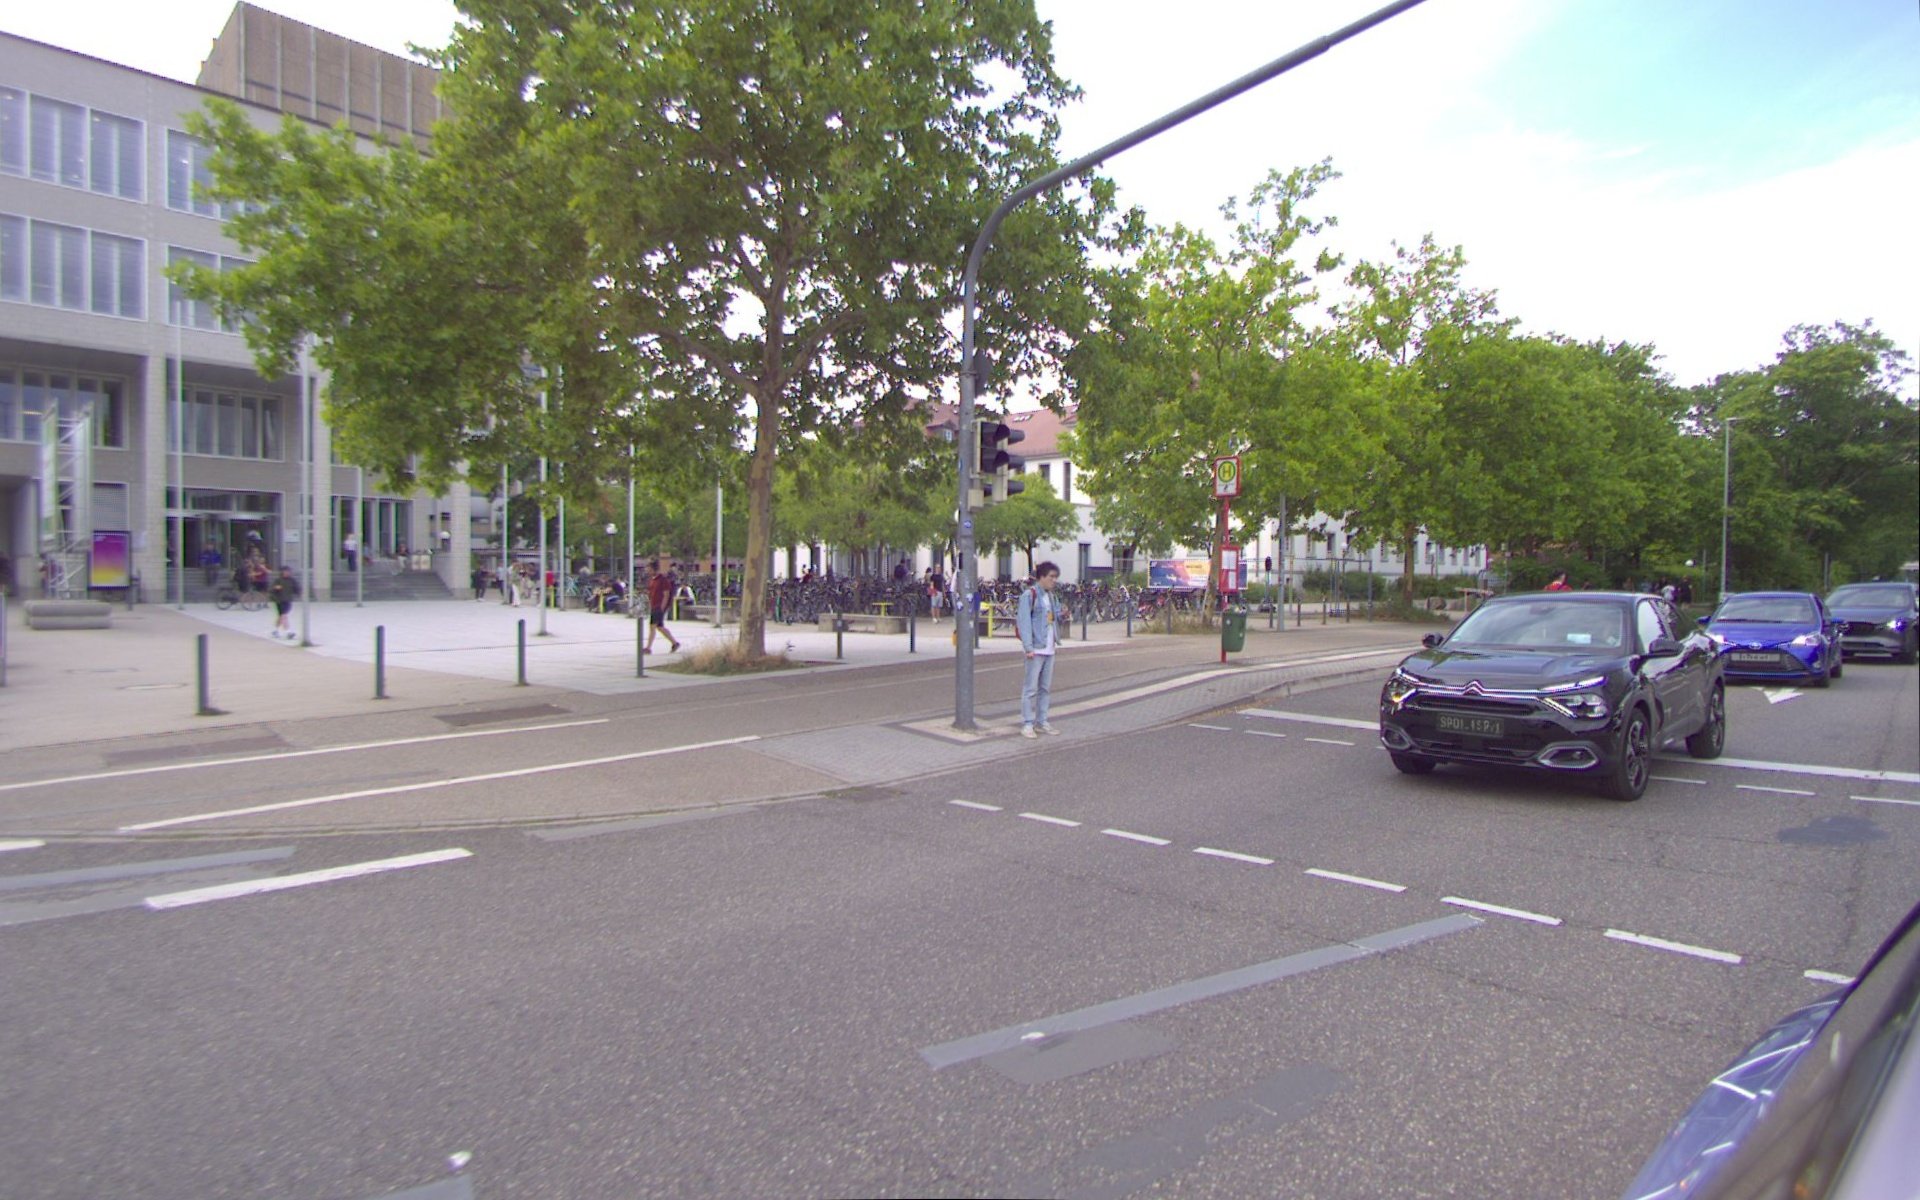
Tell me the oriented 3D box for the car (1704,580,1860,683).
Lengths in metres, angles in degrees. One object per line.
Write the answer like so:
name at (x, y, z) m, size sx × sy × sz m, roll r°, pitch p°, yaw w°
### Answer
car at (13.866, 0.429, 16.999) m, size 1.699 × 1.512 × 3.771 m, roll 1°, pitch 2°, yaw 44°

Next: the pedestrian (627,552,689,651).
pedestrian at (-5.724, 0.021, 19.153) m, size 0.876 × 1.827 × 0.768 m, roll -1°, pitch 0°, yaw -40°

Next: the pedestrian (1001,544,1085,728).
pedestrian at (0.868, 0.352, 10.530) m, size 0.670 × 1.839 × 0.574 m, roll -1°, pitch 1°, yaw -42°

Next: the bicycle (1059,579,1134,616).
bicycle at (4.326, -0.103, 32.266) m, size 0.706 × 1.156 × 2.468 m, roll -1°, pitch 1°, yaw -43°

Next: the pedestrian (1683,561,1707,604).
pedestrian at (33.856, -0.788, 46.608) m, size 0.796 × 1.958 × 0.748 m, roll 1°, pitch 1°, yaw 45°

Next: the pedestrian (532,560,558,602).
pedestrian at (-16.127, -0.720, 39.315) m, size 0.722 × 1.617 × 0.595 m, roll -1°, pitch 0°, yaw 33°

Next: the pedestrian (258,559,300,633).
pedestrian at (-16.289, -0.100, 24.239) m, size 0.687 × 1.730 × 0.956 m, roll -1°, pitch 0°, yaw -26°

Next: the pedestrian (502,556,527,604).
pedestrian at (-17.870, -0.796, 40.570) m, size 0.722 × 1.867 × 0.596 m, roll -1°, pitch 0°, yaw 31°

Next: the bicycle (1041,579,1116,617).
bicycle at (3.685, -0.083, 31.645) m, size 0.706 × 1.156 × 2.468 m, roll -1°, pitch 1°, yaw -43°

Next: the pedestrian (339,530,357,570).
pedestrian at (-27.542, -2.249, 45.530) m, size 0.619 × 1.736 × 0.673 m, roll -1°, pitch 0°, yaw -27°

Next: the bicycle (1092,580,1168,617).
bicycle at (5.413, -0.068, 32.342) m, size 0.706 × 1.156 × 2.468 m, roll -1°, pitch 1°, yaw -43°

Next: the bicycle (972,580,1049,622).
bicycle at (1.452, 0.005, 29.661) m, size 0.706 × 1.156 × 2.468 m, roll -1°, pitch 1°, yaw -43°

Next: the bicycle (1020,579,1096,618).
bicycle at (2.989, -0.065, 31.072) m, size 0.706 × 1.156 × 2.468 m, roll -1°, pitch 1°, yaw -43°

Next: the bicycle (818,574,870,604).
bicycle at (-4.554, -0.436, 39.700) m, size 0.706 × 1.156 × 2.468 m, roll -1°, pitch 1°, yaw -43°

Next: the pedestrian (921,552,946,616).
pedestrian at (-0.818, -0.494, 31.534) m, size 0.674 × 1.988 × 0.601 m, roll -1°, pitch 0°, yaw 6°

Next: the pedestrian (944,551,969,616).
pedestrian at (-0.105, -0.520, 31.435) m, size 0.674 × 1.988 × 0.601 m, roll -1°, pitch 0°, yaw 6°

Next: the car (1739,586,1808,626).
car at (30.818, 0.188, 38.304) m, size 1.699 × 1.386 × 3.771 m, roll 1°, pitch 2°, yaw 44°

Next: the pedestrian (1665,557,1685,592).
pedestrian at (33.255, -1.183, 47.055) m, size 0.644 × 1.585 × 0.792 m, roll 1°, pitch 1°, yaw 43°

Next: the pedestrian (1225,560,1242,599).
pedestrian at (12.732, -0.961, 47.050) m, size 0.584 × 1.774 × 0.530 m, roll 0°, pitch 1°, yaw -41°

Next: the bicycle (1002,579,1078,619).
bicycle at (2.374, -0.059, 30.430) m, size 0.706 × 1.156 × 2.468 m, roll -1°, pitch 1°, yaw -43°

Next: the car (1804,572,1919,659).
car at (19.730, 0.260, 21.480) m, size 4.560 × 1.669 × 1.904 m, roll -1°, pitch 1°, yaw -38°

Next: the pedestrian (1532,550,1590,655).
pedestrian at (11.204, 0.031, 18.853) m, size 0.725 × 1.876 × 1.048 m, roll 1°, pitch 1°, yaw 43°

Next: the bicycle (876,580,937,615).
bicycle at (-1.884, -0.115, 35.066) m, size 0.706 × 1.156 × 2.468 m, roll -1°, pitch 1°, yaw -43°

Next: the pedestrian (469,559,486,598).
pedestrian at (-20.765, -0.926, 43.545) m, size 0.590 × 1.661 × 0.634 m, roll -1°, pitch 0°, yaw -21°

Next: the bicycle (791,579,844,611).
bicycle at (-5.472, -0.211, 38.780) m, size 0.706 × 1.156 × 2.468 m, roll -1°, pitch 1°, yaw -43°

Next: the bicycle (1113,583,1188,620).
bicycle at (6.171, 0.028, 32.954) m, size 0.706 × 1.156 × 2.468 m, roll -1°, pitch 1°, yaw -43°

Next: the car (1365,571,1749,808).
car at (5.334, 0.576, 8.802) m, size 4.106 × 1.576 × 1.801 m, roll -1°, pitch 0°, yaw -43°

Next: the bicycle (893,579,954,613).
bicycle at (-1.298, -0.174, 35.637) m, size 0.706 × 1.156 × 2.468 m, roll -1°, pitch 1°, yaw -43°

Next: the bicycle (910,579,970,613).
bicycle at (-0.740, -0.170, 36.169) m, size 0.706 × 1.156 × 2.468 m, roll -1°, pitch 1°, yaw -43°

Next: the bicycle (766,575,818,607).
bicycle at (-6.311, -0.344, 37.952) m, size 0.706 × 1.156 × 2.468 m, roll -1°, pitch 1°, yaw -43°

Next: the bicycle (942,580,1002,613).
bicycle at (0.412, -0.142, 37.310) m, size 0.706 × 1.156 × 2.468 m, roll -1°, pitch 1°, yaw -43°
